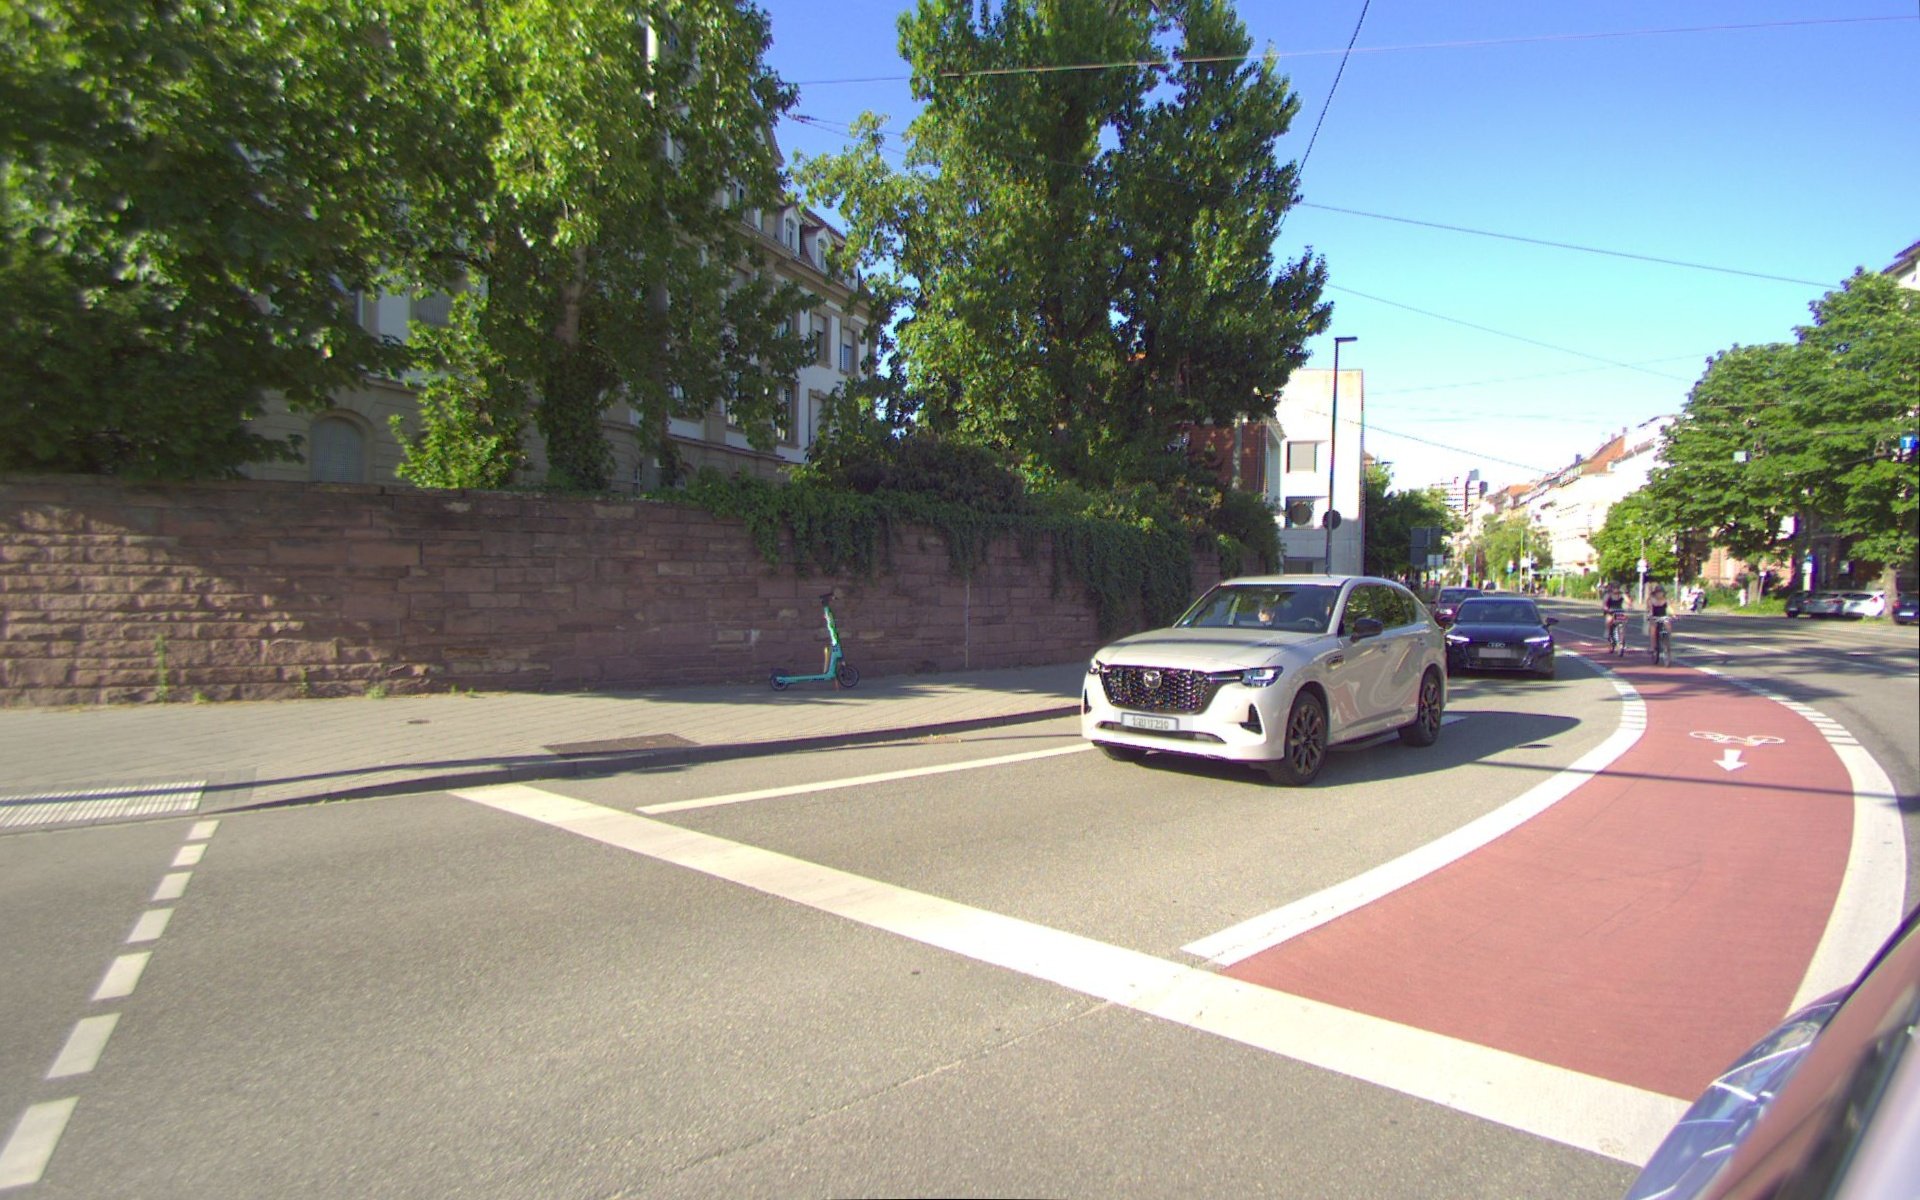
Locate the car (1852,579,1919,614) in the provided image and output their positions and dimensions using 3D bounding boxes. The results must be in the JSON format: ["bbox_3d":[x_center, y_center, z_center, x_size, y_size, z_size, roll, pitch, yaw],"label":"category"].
[{"bbox_3d":[44.131,-0.196,47.365,3.575,1.580,1.653,-1,1,-10],"label":"car"}]

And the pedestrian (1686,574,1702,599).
[{"bbox_3d":[48.902,-0.888,67.443,0.668,1.668,0.811,1,1,24],"label":"pedestrian"}]

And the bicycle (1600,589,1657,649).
[{"bbox_3d":[15.455,0.401,23.441,0.669,1.265,2.437,2,2,24],"label":"bicycle"}]

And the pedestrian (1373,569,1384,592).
[{"bbox_3d":[29.904,-1.409,72.308,0.668,1.668,0.811,1,1,24],"label":"pedestrian"}]

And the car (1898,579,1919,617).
[{"bbox_3d":[41.571,-0.117,42.285,3.575,1.580,1.653,-1,1,-10],"label":"car"}]

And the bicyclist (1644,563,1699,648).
[{"bbox_3d":[14.359,0.088,20.451,0.668,1.667,1.021,2,2,24],"label":"bicyclist"}]

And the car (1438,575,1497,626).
[{"bbox_3d":[16.581,-0.019,33.076,1.634,1.580,3.617,0,1,27],"label":"car"}]

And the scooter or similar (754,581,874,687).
[{"bbox_3d":[-1.860,0.414,12.933,1.394,1.285,0.577,0,1,-25],"label":"scooter or similar"}]

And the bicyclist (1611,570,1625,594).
[{"bbox_3d":[48.035,-1.320,73.870,0.668,1.667,1.021,2,2,24],"label":"bicyclist"}]

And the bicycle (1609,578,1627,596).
[{"bbox_3d":[48.005,-0.984,73.851,0.669,1.265,2.437,2,2,24],"label":"bicycle"}]

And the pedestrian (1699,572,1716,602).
[{"bbox_3d":[42.930,-0.754,58.119,0.671,1.668,0.808,1,1,33],"label":"pedestrian"}]

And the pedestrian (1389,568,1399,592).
[{"bbox_3d":[30.795,-1.410,71.799,0.668,1.668,0.811,1,1,24],"label":"pedestrian"}]

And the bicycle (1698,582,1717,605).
[{"bbox_3d":[42.943,-0.381,58.148,0.671,1.266,2.429,1,1,32],"label":"bicycle"}]

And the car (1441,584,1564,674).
[{"bbox_3d":[10.173,0.459,18.838,1.775,1.451,3.955,0,1,32],"label":"car"}]

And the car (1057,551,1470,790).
[{"bbox_3d":[3.055,0.456,9.548,1.940,1.713,4.461,0,1,44],"label":"car"}]

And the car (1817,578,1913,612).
[{"bbox_3d":[44.492,-0.255,49.773,3.575,1.580,1.653,-1,1,-10],"label":"car"}]

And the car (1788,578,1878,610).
[{"bbox_3d":[45.723,-0.344,53.003,3.575,1.580,1.653,-1,1,-10],"label":"car"}]

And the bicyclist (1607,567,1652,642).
[{"bbox_3d":[15.416,0.086,23.329,0.668,1.667,1.021,2,2,24],"label":"bicyclist"}]

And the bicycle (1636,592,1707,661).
[{"bbox_3d":[14.389,0.494,20.524,0.669,1.265,2.437,2,2,24],"label":"bicycle"}]
